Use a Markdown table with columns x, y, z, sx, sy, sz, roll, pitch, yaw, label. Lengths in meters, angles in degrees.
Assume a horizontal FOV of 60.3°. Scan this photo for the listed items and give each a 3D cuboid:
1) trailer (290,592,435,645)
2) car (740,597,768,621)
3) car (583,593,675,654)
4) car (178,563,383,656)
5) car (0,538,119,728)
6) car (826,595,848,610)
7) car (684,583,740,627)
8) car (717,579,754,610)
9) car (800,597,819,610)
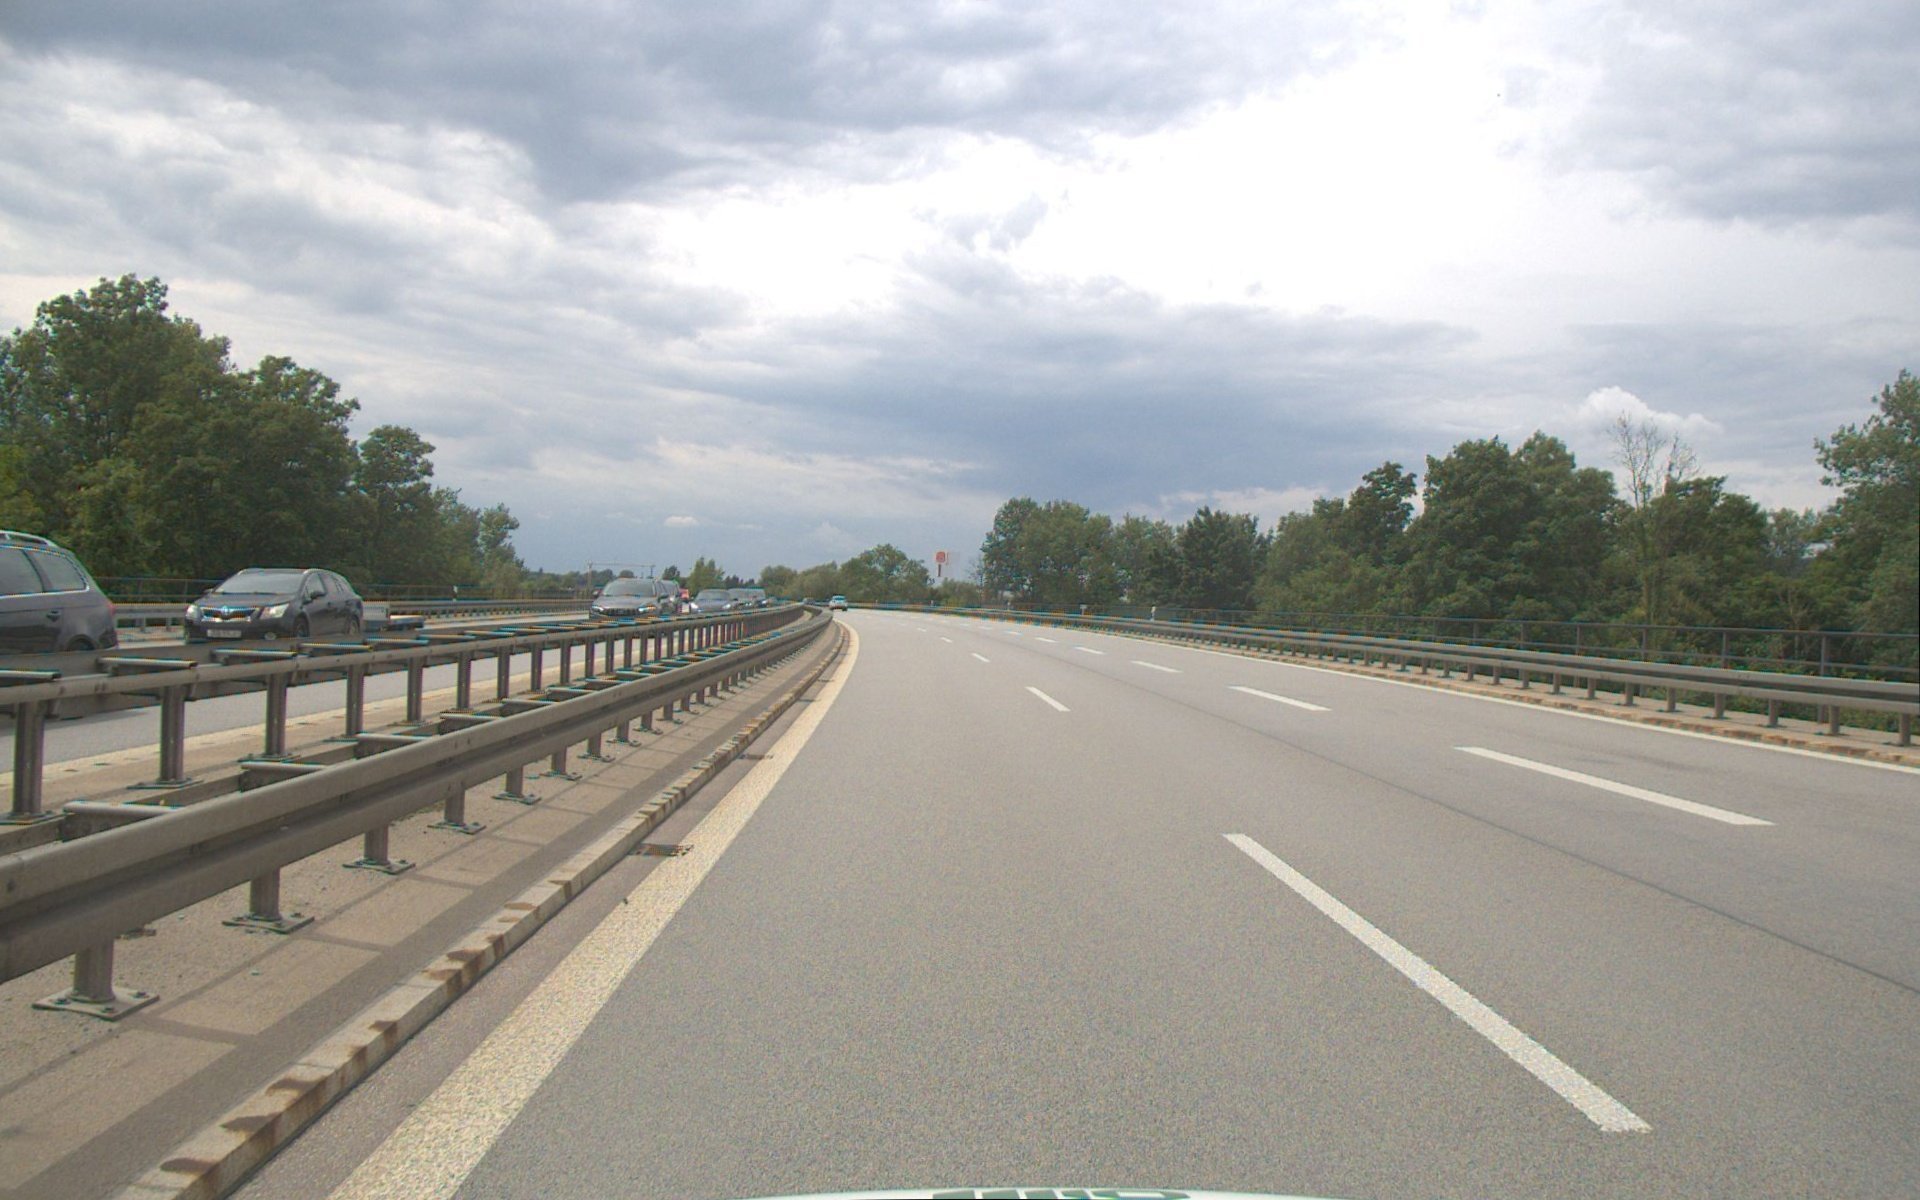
| x | y | z | sx | sy | sz | roll | pitch | yaw | label |
| --- | --- | --- | --- | --- | --- | --- | --- | --- | --- |
| -11.990 | 0.351 | 33.434 | 1.635 | 0.968 | 3.997 | 1 | 0 | -3 | trailer |
| -14.686 | 0.659 | 118.009 | 1.611 | 1.633 | 3.998 | 2 | 0 | -2 | car |
| -8.458 | 0.582 | 42.560 | 1.658 | 1.462 | 4.108 | 1 | 0 | -2 | car |
| -11.717 | 0.155 | 28.896 | 1.703 | 1.434 | 4.940 | 1 | 0 | -3 | car |
| -7.809 | 0.227 | 11.802 | 1.618 | 1.391 | 4.146 | 1 | 0 | -3 | car |
| -13.904 | 0.301 | 186.945 | 1.868 | 1.668 | 4.384 | 1 | 0 | -11 | car |
| -9.648 | 0.185 | 64.615 | 1.611 | 1.576 | 3.999 | 2 | 0 | -1 | car |
| -11.932 | -0.285 | 88.182 | 1.611 | 1.576 | 3.997 | 1 | 0 | -3 | car |
| -20.890 | 0.512 | 229.351 | 1.860 | 1.668 | 4.606 | 1 | 0 | -13 | car |
